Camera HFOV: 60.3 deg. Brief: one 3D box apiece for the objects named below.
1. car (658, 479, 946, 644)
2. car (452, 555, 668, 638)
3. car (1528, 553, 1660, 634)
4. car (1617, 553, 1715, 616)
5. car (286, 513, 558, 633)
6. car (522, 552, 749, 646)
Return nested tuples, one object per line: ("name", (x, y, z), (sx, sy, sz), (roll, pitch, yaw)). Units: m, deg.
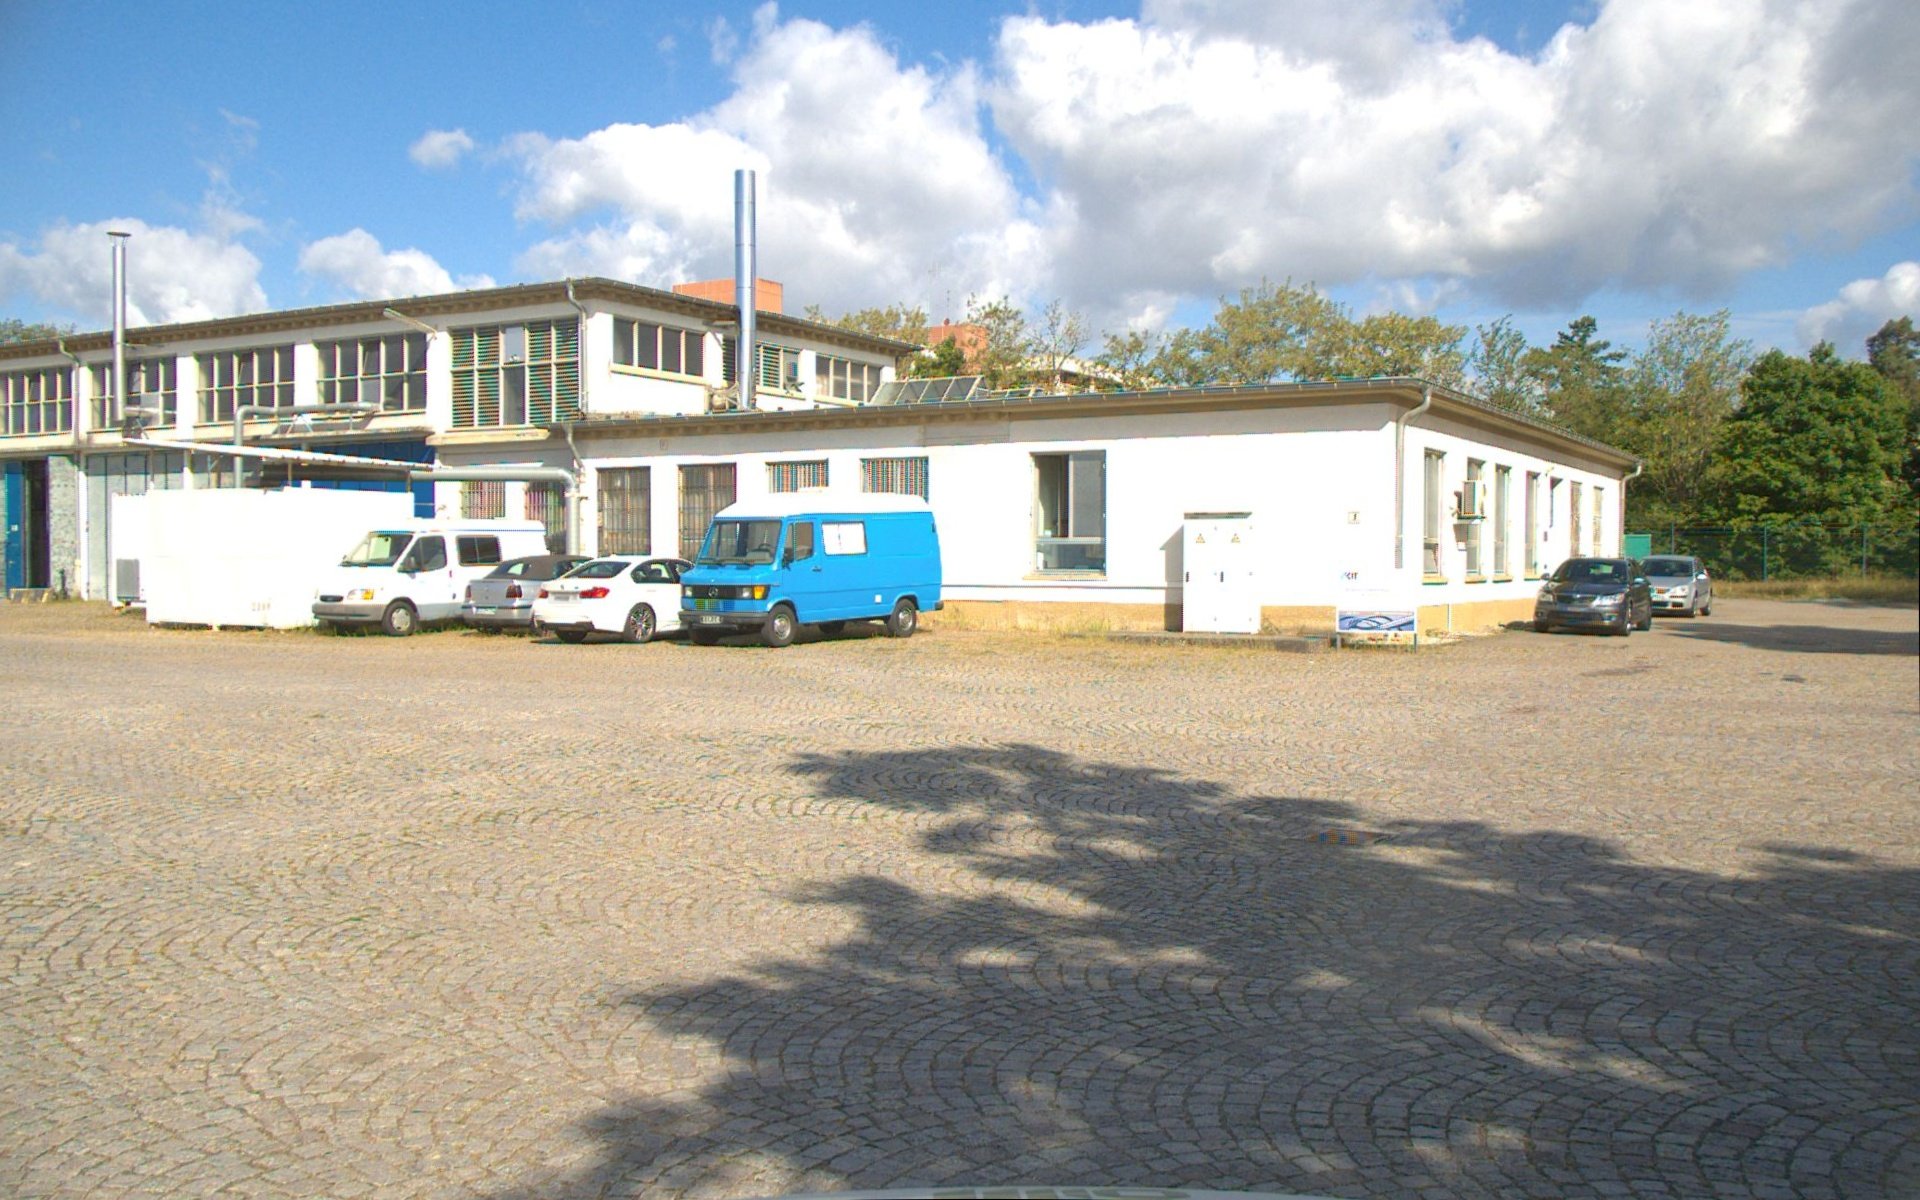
("car", (-2.535, -0.649, 28.034), (2.046, 2.526, 5.223), (1, 1, 34))
("car", (-7.366, -0.113, 30.738), (1.657, 1.423, 3.821), (1, 2, 33))
("car", (12.498, -0.176, 32.478), (1.731, 1.460, 3.983), (2, 2, 31))
("car", (17.520, -0.413, 40.959), (1.656, 1.460, 3.978), (2, 2, 31))
("car", (-10.179, -0.532, 31.676), (1.968, 2.117, 4.791), (1, 1, 34))
("car", (-5.515, -0.071, 28.471), (1.702, 1.430, 3.729), (0, 3, 33))
